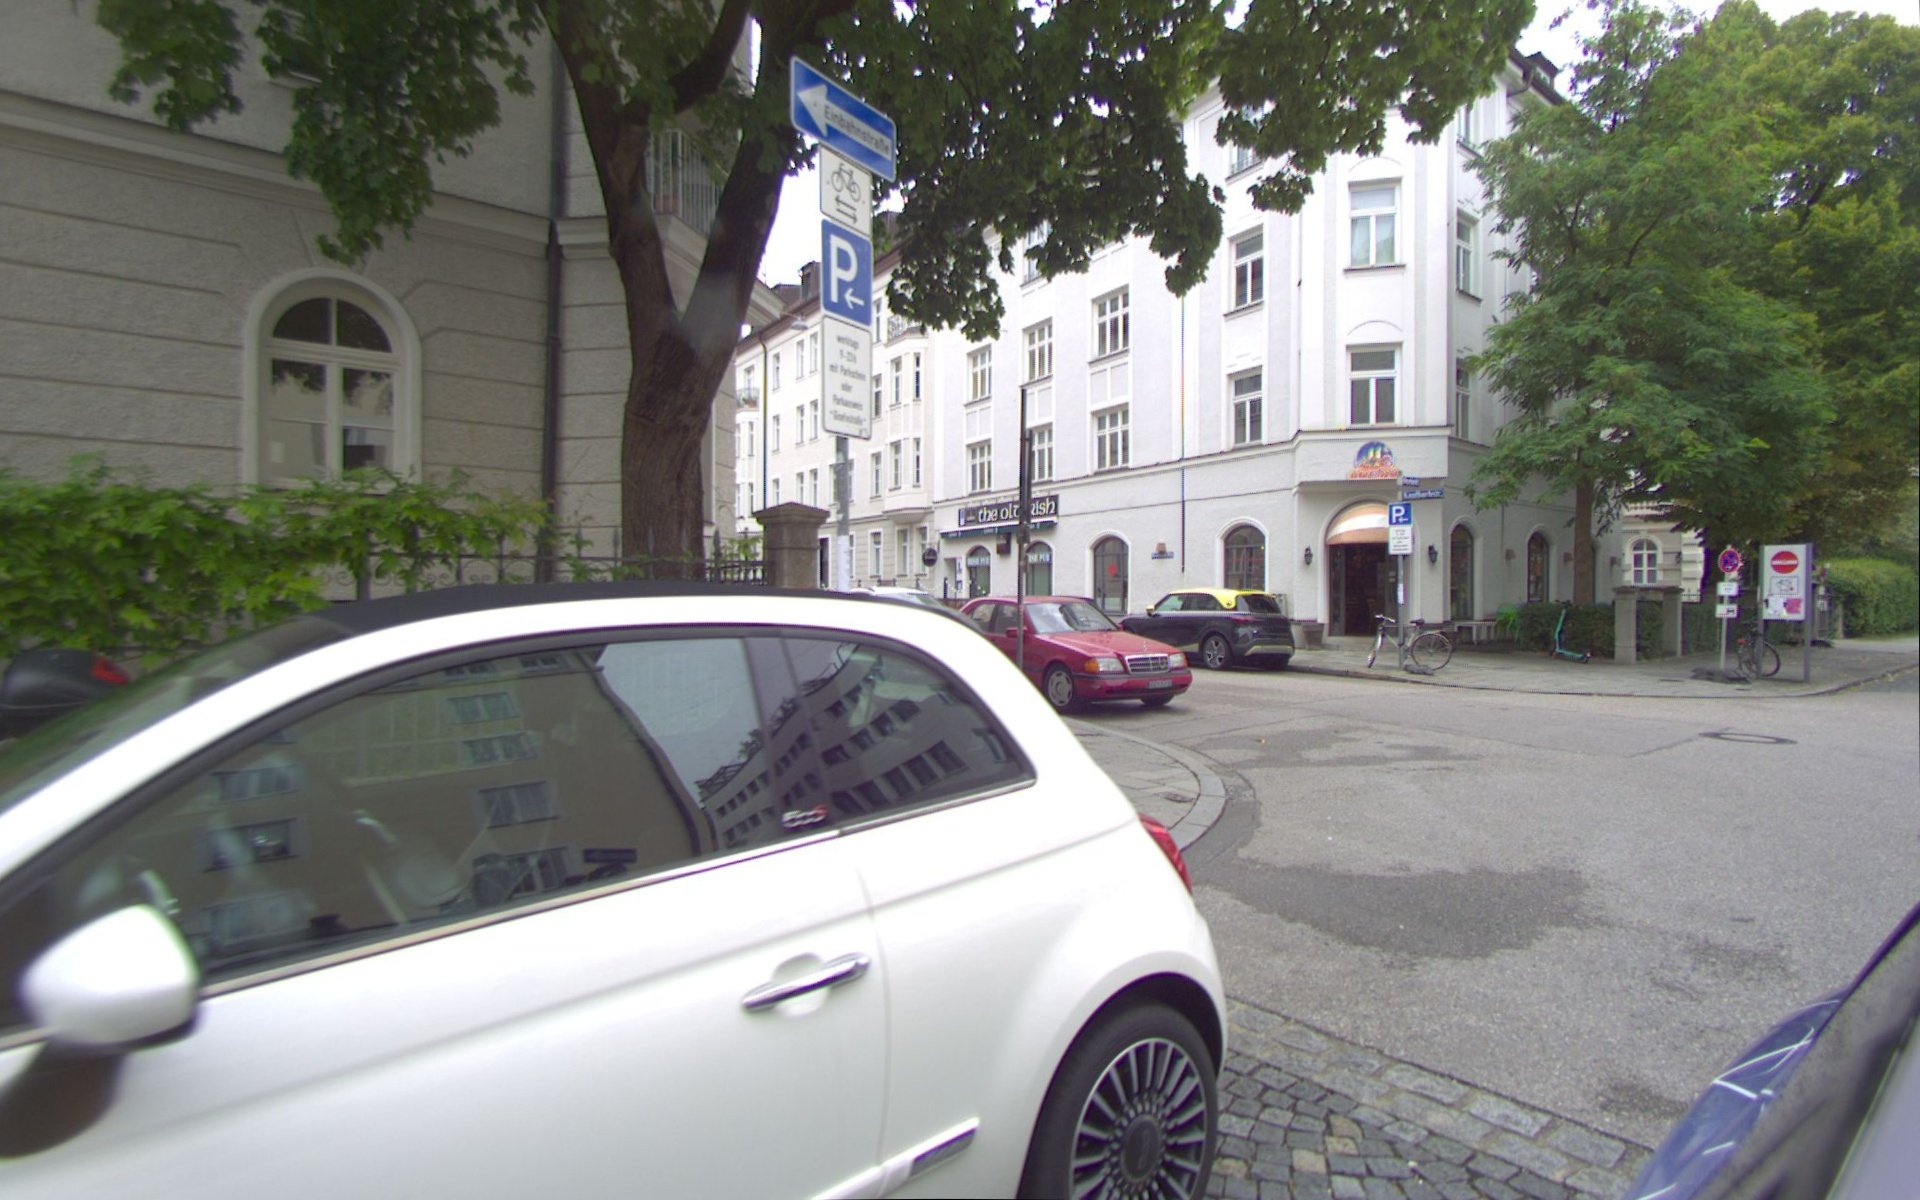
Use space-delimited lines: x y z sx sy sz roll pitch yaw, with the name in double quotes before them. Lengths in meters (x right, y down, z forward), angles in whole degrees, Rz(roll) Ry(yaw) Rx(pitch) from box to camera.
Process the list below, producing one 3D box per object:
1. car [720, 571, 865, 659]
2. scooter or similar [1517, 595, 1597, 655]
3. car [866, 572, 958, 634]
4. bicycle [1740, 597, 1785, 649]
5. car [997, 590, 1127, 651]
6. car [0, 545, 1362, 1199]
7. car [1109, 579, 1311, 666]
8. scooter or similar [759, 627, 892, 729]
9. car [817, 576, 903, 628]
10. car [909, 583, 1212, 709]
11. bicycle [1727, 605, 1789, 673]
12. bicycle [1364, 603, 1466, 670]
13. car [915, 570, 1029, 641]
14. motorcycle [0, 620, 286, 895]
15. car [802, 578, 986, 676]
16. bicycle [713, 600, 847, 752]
"car" -3.773 0.248 22.165 1.717 1.733 4.348 1 1 -30
"scooter or similar" 12.705 0.515 21.592 0.396 1.187 1.611 0 2 -16
"car" -1.668 0.074 34.029 1.695 1.959 3.665 0 1 -28
"bicycle" 19.879 0.557 25.052 1.699 1.212 0.429 -1 6 -39
"car" 2.578 0.466 26.222 1.666 1.443 3.545 0 1 -28
"car" -0.847 0.674 2.088 3.727 1.489 1.505 -1 1 -39
"car" 5.112 0.394 21.225 1.867 1.617 4.093 0 1 -28
"scooter or similar" -1.330 0.718 9.847 0.906 0.859 1.188 0 1 -30
"car" -3.789 0.053 37.814 1.708 1.835 4.004 0 1 -30
"car" 1.152 0.489 13.770 1.726 1.375 4.485 0 1 -32
"bicycle" 14.295 0.675 18.114 1.558 1.161 0.389 0 1 -33
"bicycle" 8.573 0.665 19.127 0.725 1.081 1.606 -4 5 -36
"car" 0.287 0.129 30.513 1.738 1.994 3.937 0 1 -28
"motorcycle" -3.834 0.661 4.499 1.378 1.104 0.363 0 0 -38
"car" -1.286 0.393 18.051 1.536 1.540 3.900 0 1 -34
"bicycle" -1.596 0.587 8.741 0.551 1.138 1.846 0 1 -30
